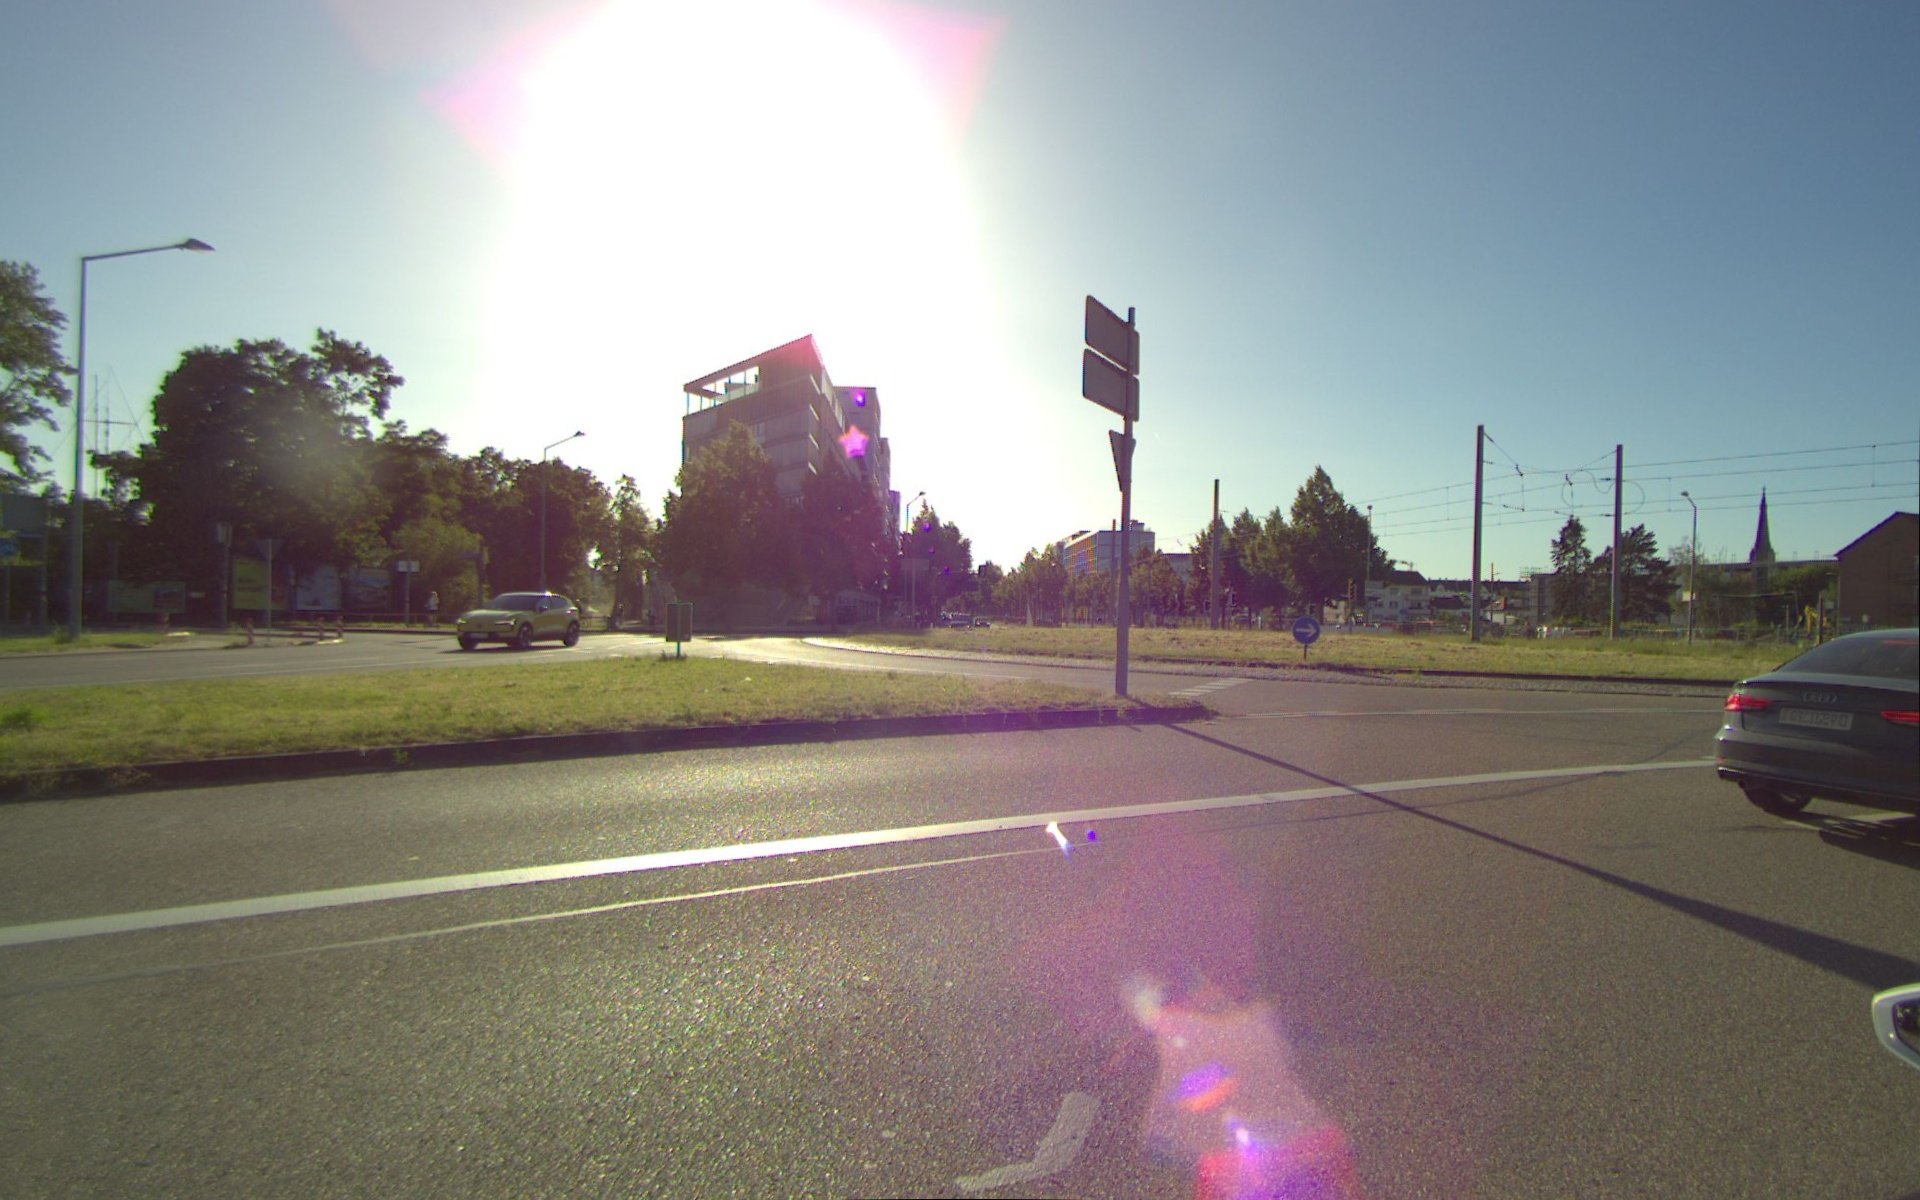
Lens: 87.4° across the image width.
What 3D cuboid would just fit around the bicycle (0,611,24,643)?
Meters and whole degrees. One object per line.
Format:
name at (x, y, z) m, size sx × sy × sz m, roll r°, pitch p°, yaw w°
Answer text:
bicycle at (-26.601, 0.731, 27.402) m, size 0.606 × 0.864 × 1.885 m, roll 1°, pitch 0°, yaw -10°

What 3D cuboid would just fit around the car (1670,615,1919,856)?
car at (7.555, 0.906, 7.247) m, size 4.290 × 1.398 × 1.759 m, roll 3°, pitch 0°, yaw -18°

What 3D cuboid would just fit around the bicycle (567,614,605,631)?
bicycle at (-23.420, 1.414, 62.944) m, size 0.652 × 1.001 × 2.253 m, roll 1°, pitch -1°, yaw 38°

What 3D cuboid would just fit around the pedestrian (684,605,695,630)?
pedestrian at (-18.862, 1.233, 70.023) m, size 0.667 × 1.705 × 0.886 m, roll 1°, pitch 0°, yaw -15°

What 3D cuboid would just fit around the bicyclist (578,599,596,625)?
bicyclist at (-23.379, 0.780, 62.965) m, size 0.652 × 1.601 × 0.831 m, roll 1°, pitch -1°, yaw 38°

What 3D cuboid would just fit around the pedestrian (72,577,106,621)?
pedestrian at (-41.440, -0.029, 47.796) m, size 0.803 × 2.040 × 0.900 m, roll 2°, pitch -1°, yaw -7°

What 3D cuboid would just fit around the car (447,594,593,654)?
car at (-12.457, 0.661, 28.777) m, size 1.969 × 1.561 × 4.327 m, roll 1°, pitch -1°, yaw 5°

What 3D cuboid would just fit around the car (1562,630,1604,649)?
car at (76.353, 4.793, 123.106) m, size 1.963 × 2.040 × 4.495 m, roll 4°, pitch 0°, yaw -6°

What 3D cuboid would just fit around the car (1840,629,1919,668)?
car at (43.954, 2.262, 46.606) m, size 1.965 × 1.661 × 4.399 m, roll 1°, pitch 0°, yaw -11°

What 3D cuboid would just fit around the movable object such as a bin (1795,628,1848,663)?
movable object such as a bin at (75.376, 3.951, 87.959) m, size 2.381 × 2.810 × 3.998 m, roll 3°, pitch 0°, yaw 24°

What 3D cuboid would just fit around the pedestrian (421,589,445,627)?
pedestrian at (-28.028, 0.433, 53.459) m, size 0.577 × 2.032 × 0.944 m, roll 1°, pitch 0°, yaw 20°

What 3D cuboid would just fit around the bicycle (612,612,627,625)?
bicycle at (-28.186, 1.558, 83.239) m, size 0.575 × 1.025 × 1.870 m, roll 2°, pitch -1°, yaw -1°

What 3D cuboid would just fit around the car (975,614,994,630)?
car at (2.931, 2.627, 121.815) m, size 1.742 × 1.808 × 3.915 m, roll 2°, pitch -1°, yaw -5°

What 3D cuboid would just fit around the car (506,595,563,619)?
car at (-33.553, 0.556, 79.332) m, size 1.813 × 1.830 × 3.723 m, roll 1°, pitch -1°, yaw 43°

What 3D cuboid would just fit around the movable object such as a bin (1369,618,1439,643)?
movable object such as a bin at (57.854, 3.950, 130.910) m, size 7.775 × 2.819 × 2.944 m, roll 2°, pitch 0°, yaw 1°

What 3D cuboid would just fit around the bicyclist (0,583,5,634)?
bicyclist at (-26.577, 0.222, 27.265) m, size 0.606 × 1.411 × 0.718 m, roll 1°, pitch 0°, yaw -10°

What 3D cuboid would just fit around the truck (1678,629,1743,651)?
truck at (80.042, 4.243, 107.224) m, size 2.128 × 2.040 × 6.437 m, roll 4°, pitch -1°, yaw 1°

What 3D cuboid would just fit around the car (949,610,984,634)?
car at (0.597, 1.789, 82.651) m, size 2.412 × 1.808 × 5.017 m, roll 2°, pitch -1°, yaw 5°

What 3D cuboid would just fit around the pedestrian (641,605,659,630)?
pedestrian at (-20.654, 1.164, 66.951) m, size 0.870 × 1.651 × 0.759 m, roll 1°, pitch 0°, yaw 33°
